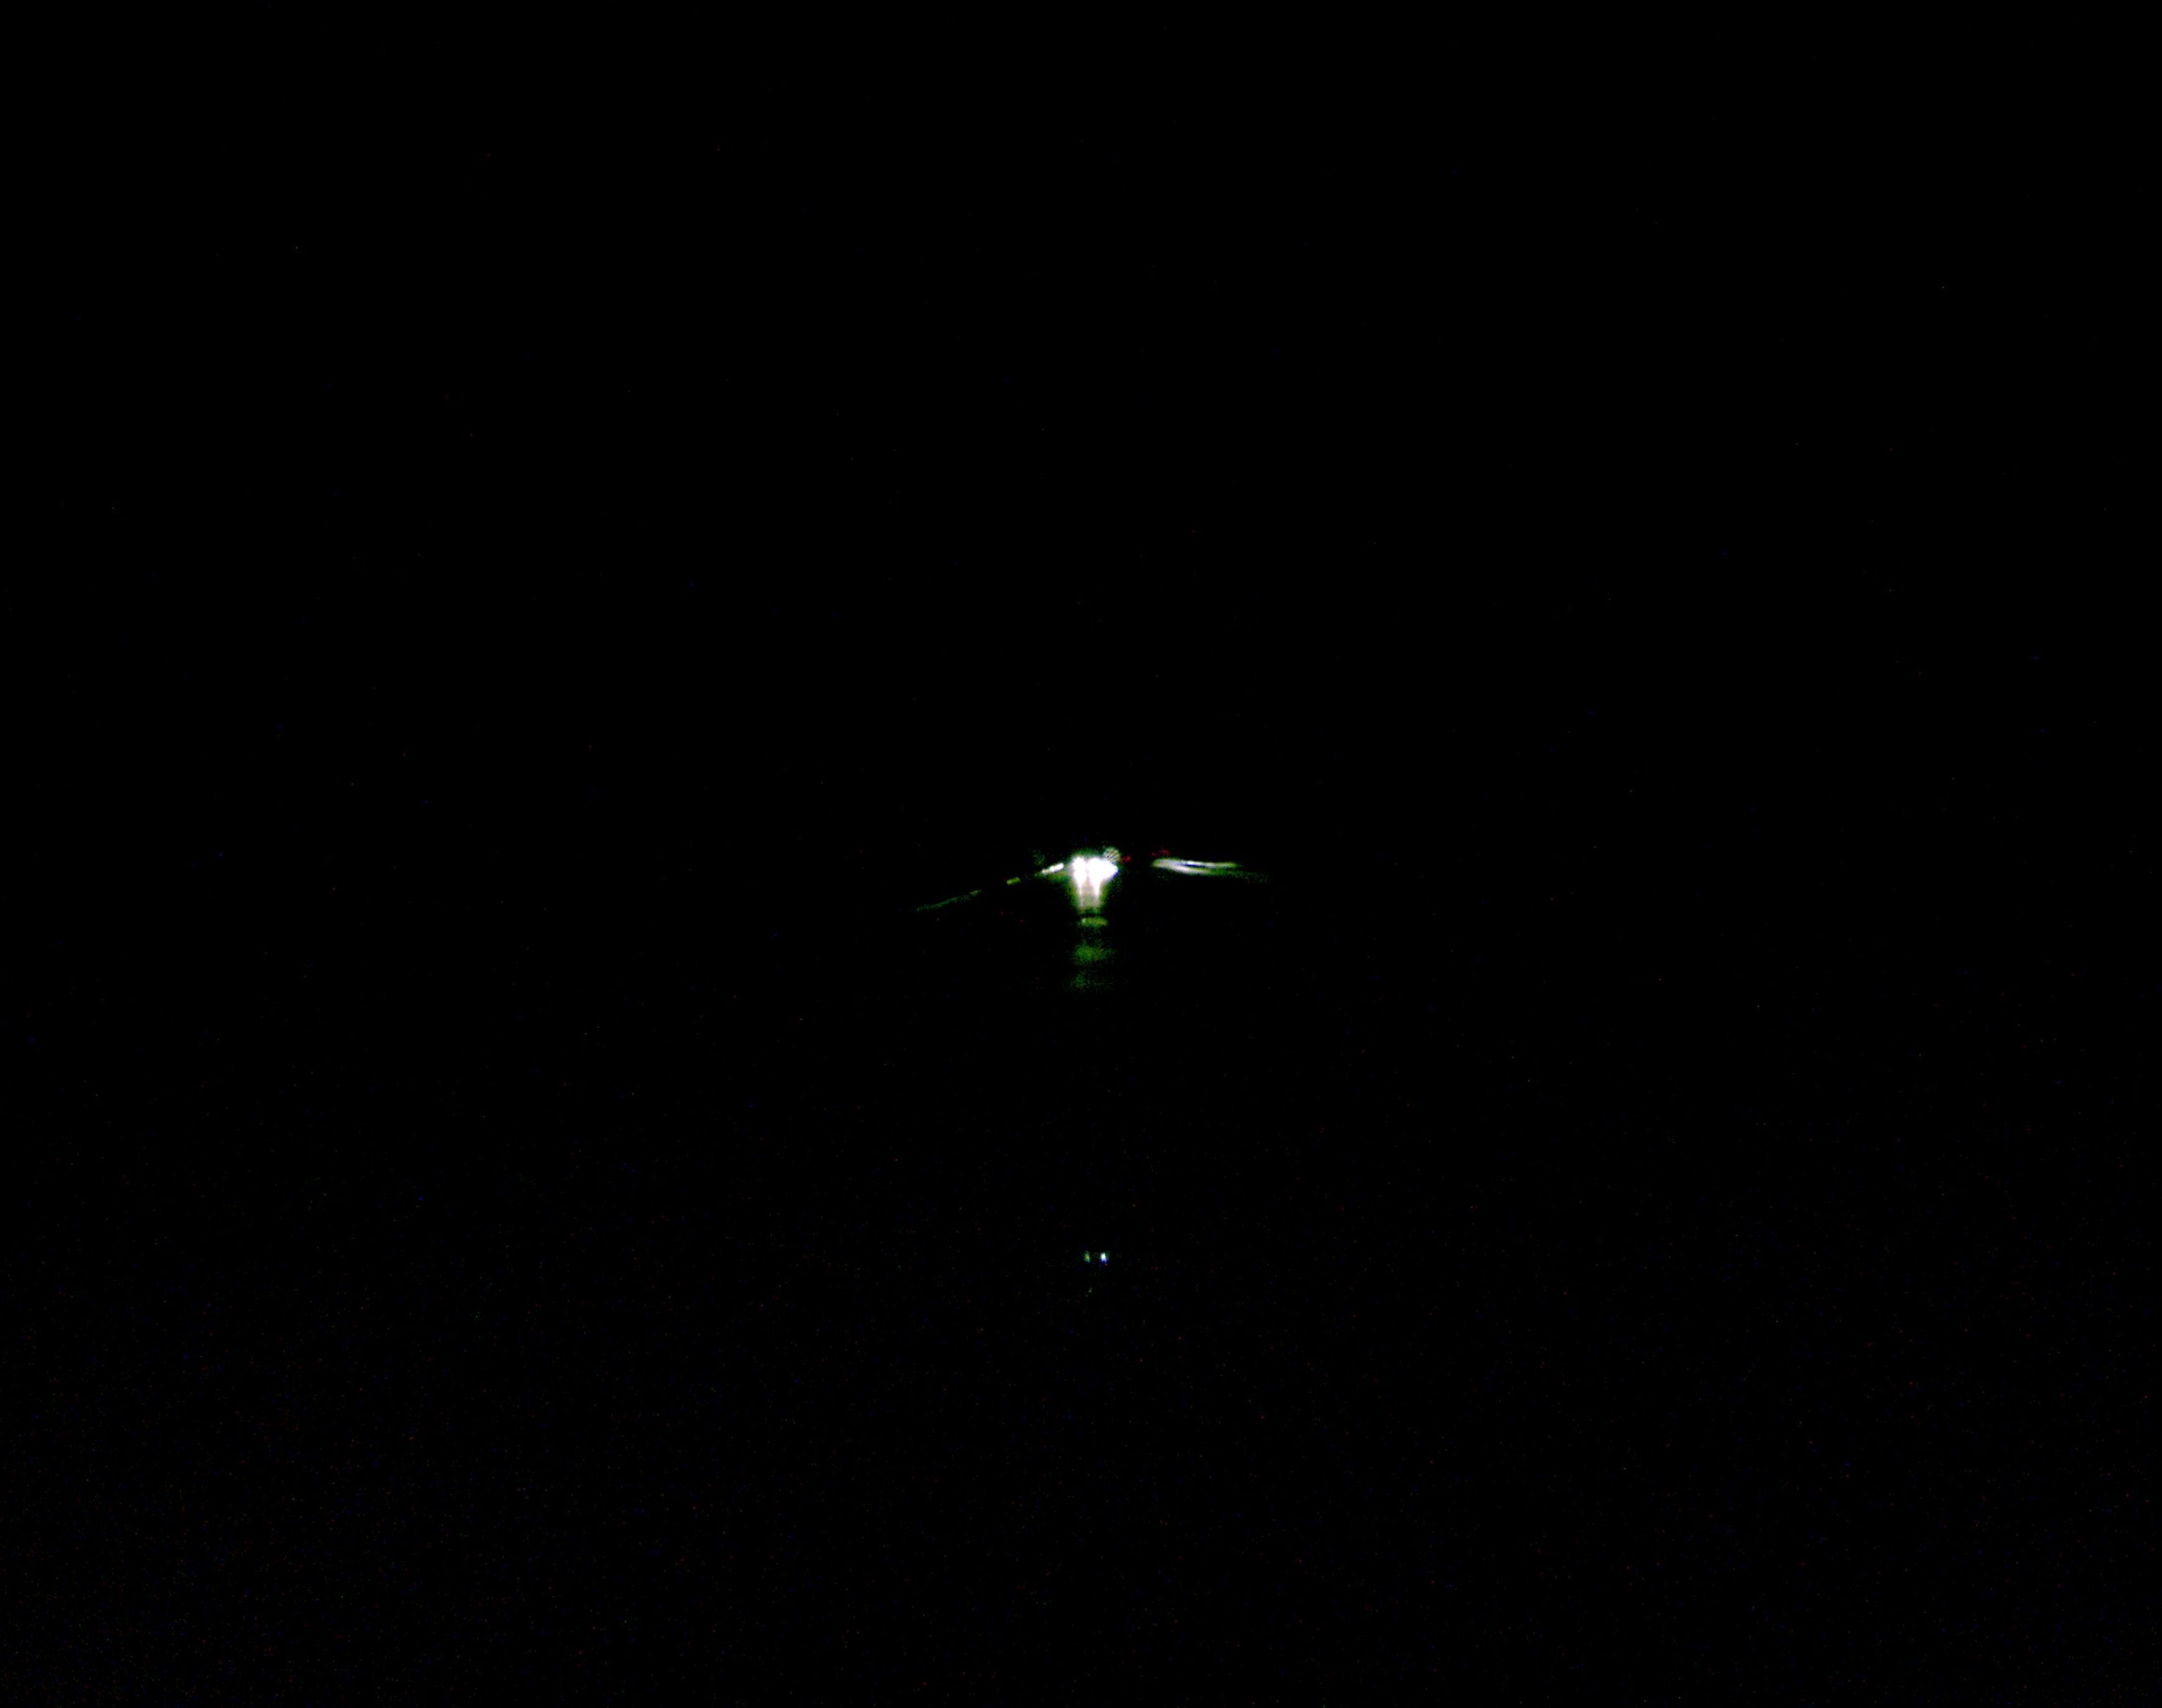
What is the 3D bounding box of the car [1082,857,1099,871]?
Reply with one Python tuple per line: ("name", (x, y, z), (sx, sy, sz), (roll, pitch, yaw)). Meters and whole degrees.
("car", (1.011, 1.068, 84.035), (1.807, 1.452, 4.275), (-2, 0, 0))
